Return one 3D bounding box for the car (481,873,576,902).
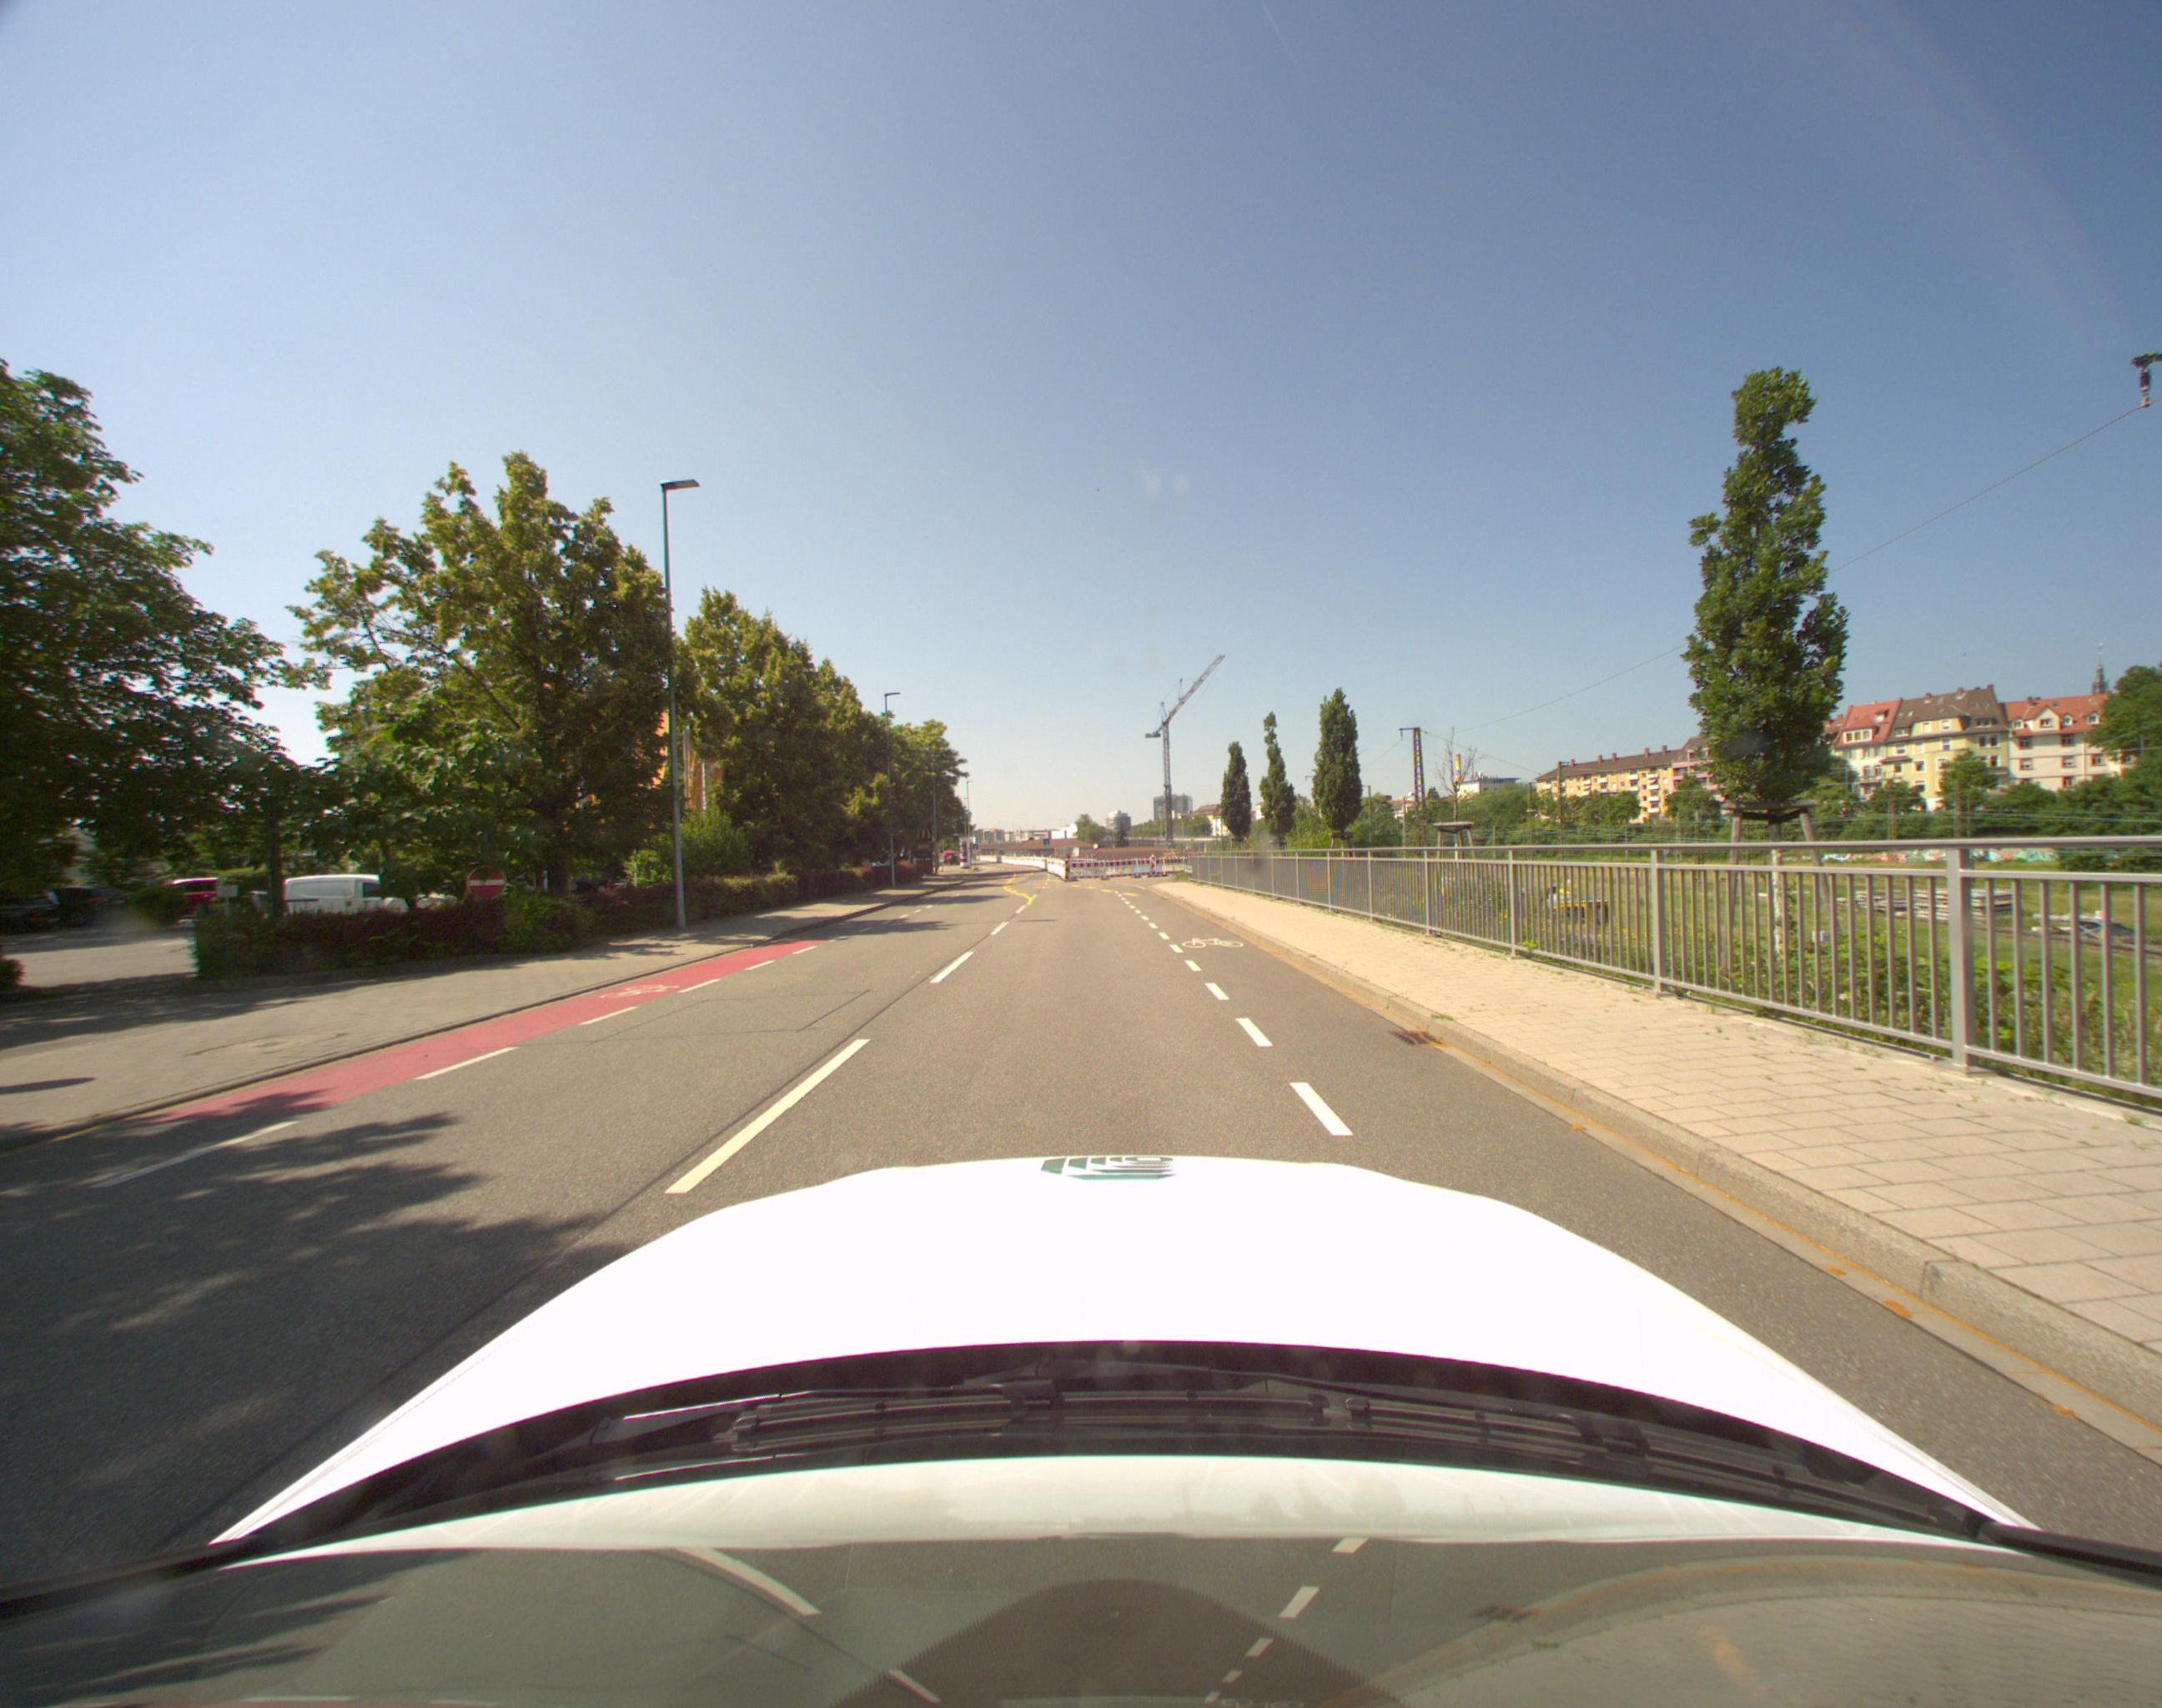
[{"bbox_3d":[-33.354,2.004,49.333,4.282,1.438,1.988,-3,0,-18],"label":"car"}]

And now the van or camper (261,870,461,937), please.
[{"bbox_3d":[-22.849,1.517,26.070,4.282,1.740,1.988,-3,0,-18],"label":"van or camper"}]

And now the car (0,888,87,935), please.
[{"bbox_3d":[-40.950,2.226,30.760,3.991,1.598,1.791,-3,0,-13],"label":"car"}]

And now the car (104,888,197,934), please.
[{"bbox_3d":[-34.495,2.113,30.180,3.389,1.526,1.511,-2,0,28],"label":"car"}]

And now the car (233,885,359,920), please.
[{"bbox_3d":[-37.651,2.280,39.192,4.005,1.338,1.573,-3,0,-24],"label":"car"}]

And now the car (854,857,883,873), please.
[{"bbox_3d":[-27.636,1.476,105.775,2.011,1.903,3.952,-2,0,-41],"label":"car"}]

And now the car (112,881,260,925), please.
[{"bbox_3d":[-39.090,2.121,35.674,3.991,1.598,1.791,-3,0,-13],"label":"car"}]
